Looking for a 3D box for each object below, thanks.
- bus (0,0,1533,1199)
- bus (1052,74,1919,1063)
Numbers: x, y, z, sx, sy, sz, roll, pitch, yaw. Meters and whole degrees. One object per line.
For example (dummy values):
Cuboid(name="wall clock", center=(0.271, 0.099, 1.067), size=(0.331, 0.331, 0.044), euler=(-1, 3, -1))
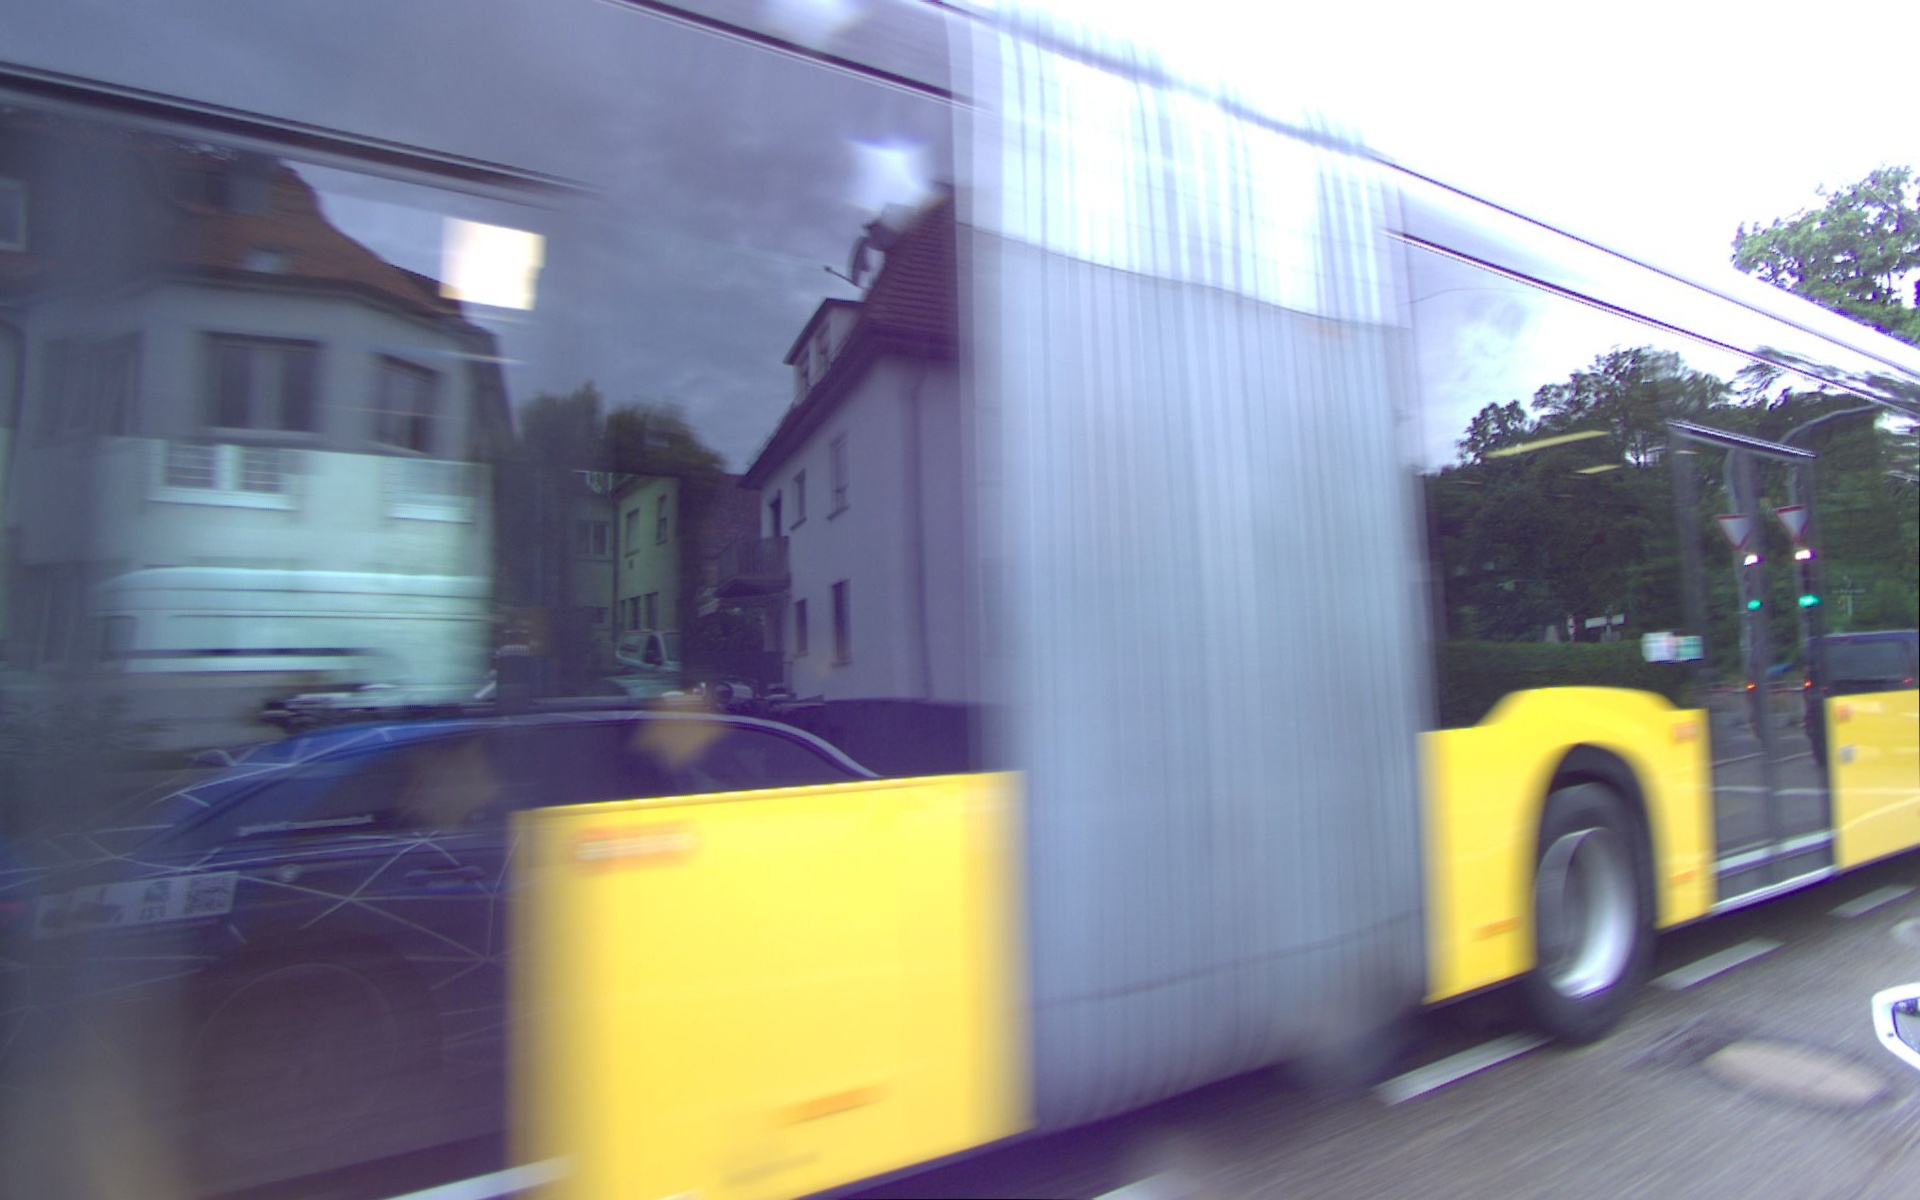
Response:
Cuboid(name="bus", center=(-2.518, -0.151, 2.426), size=(8.576, 3.442, 2.666), euler=(1, -4, -30))
Cuboid(name="bus", center=(5.114, 0.005, 7.106), size=(8.940, 3.442, 2.885), euler=(1, -4, -32))
